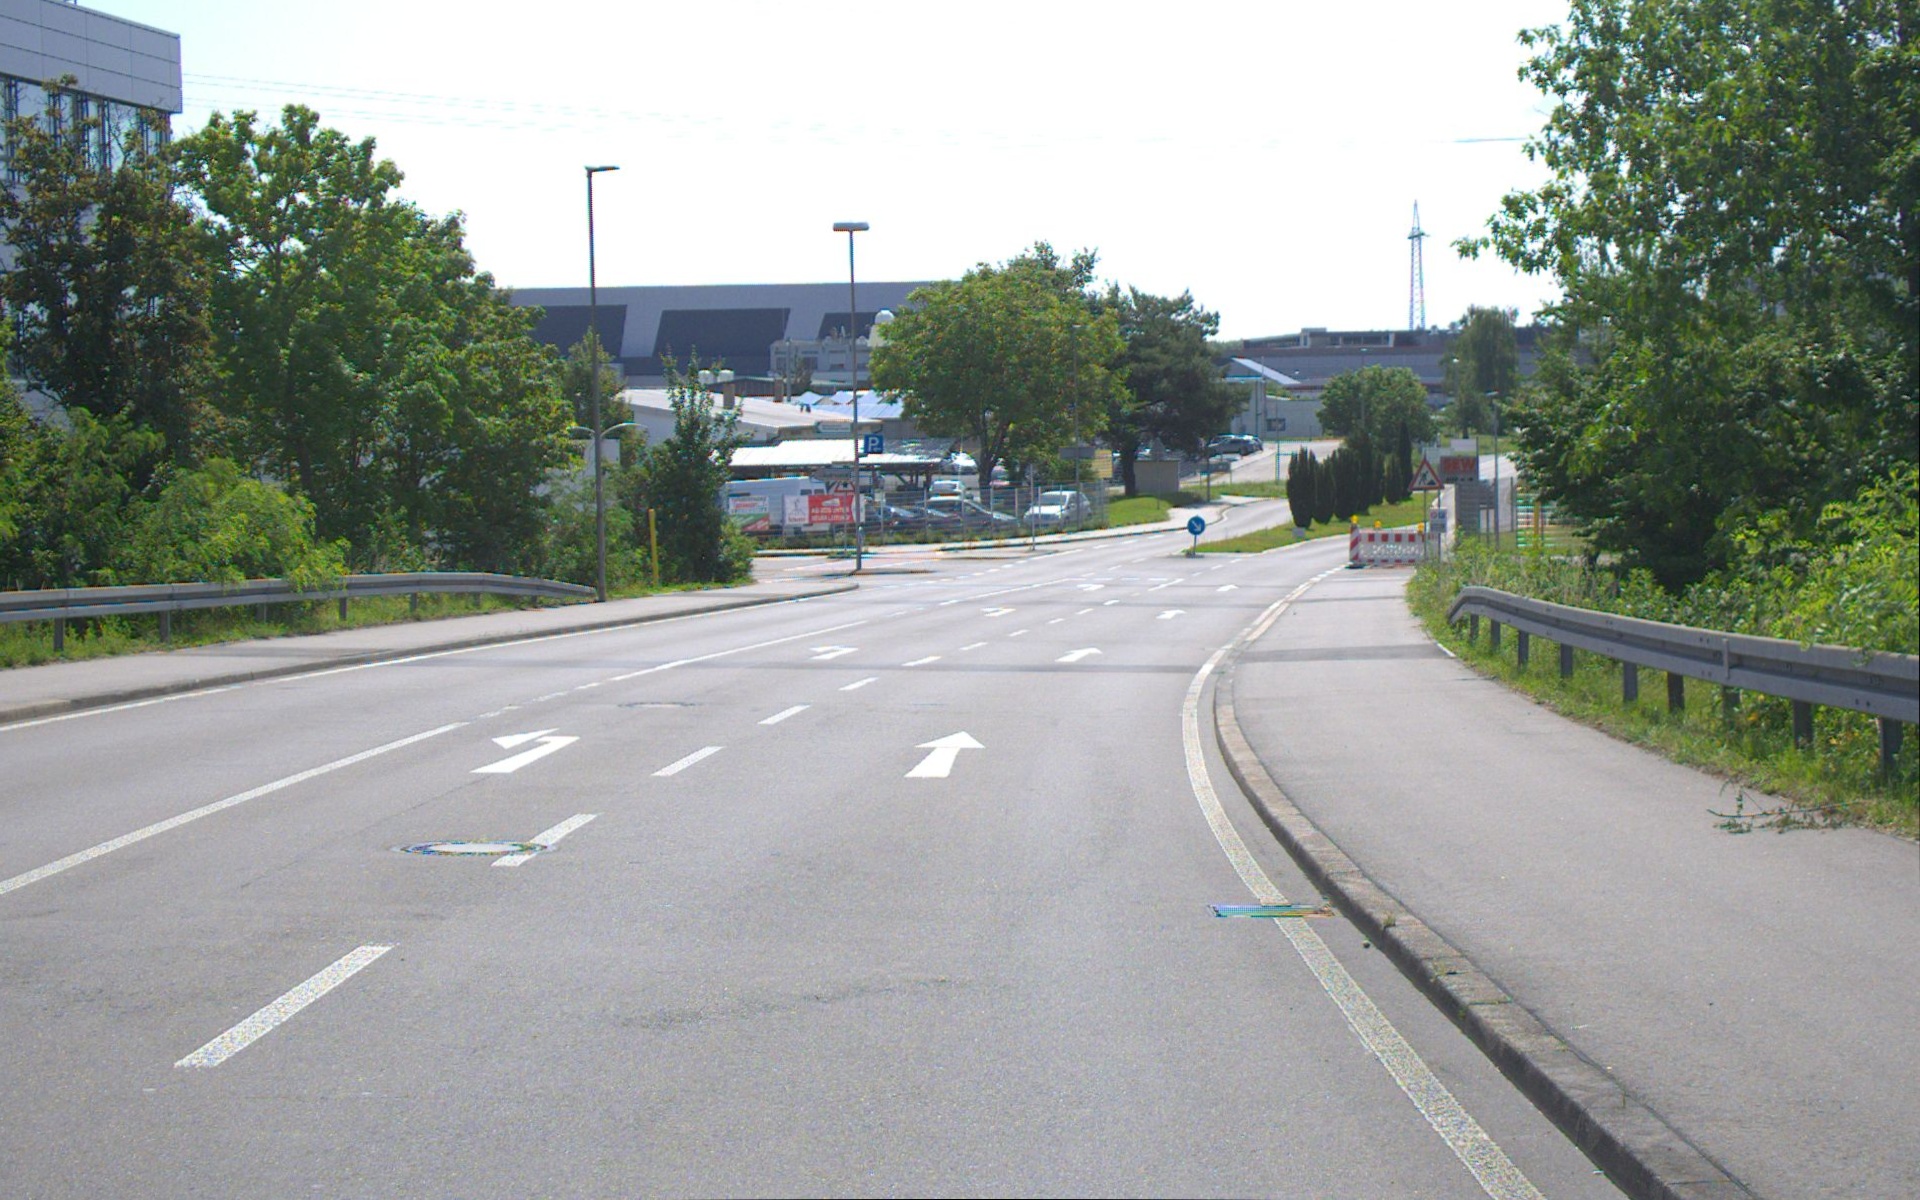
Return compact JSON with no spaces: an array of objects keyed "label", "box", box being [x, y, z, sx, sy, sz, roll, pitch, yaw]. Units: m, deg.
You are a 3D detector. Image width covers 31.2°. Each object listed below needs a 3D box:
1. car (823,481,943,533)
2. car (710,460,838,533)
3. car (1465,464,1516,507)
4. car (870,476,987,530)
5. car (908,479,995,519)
[{"label":"car","box":[-2.855,-3.473,127.337,3.995,1.774,1.996,2,5,34]},{"label":"car","box":[-6.730,-3.744,124.136,4.360,2.599,1.996,1,2,36]},{"label":"car","box":[26.186,-5.673,169.592,2.273,1.940,4.664,3,3,10]},{"label":"car","box":[-1.181,-3.694,129.886,3.995,1.897,1.996,3,5,35]},{"label":"car","box":[-0.397,-4.763,161.965,3.986,1.843,1.835,-1,2,-3]}]
